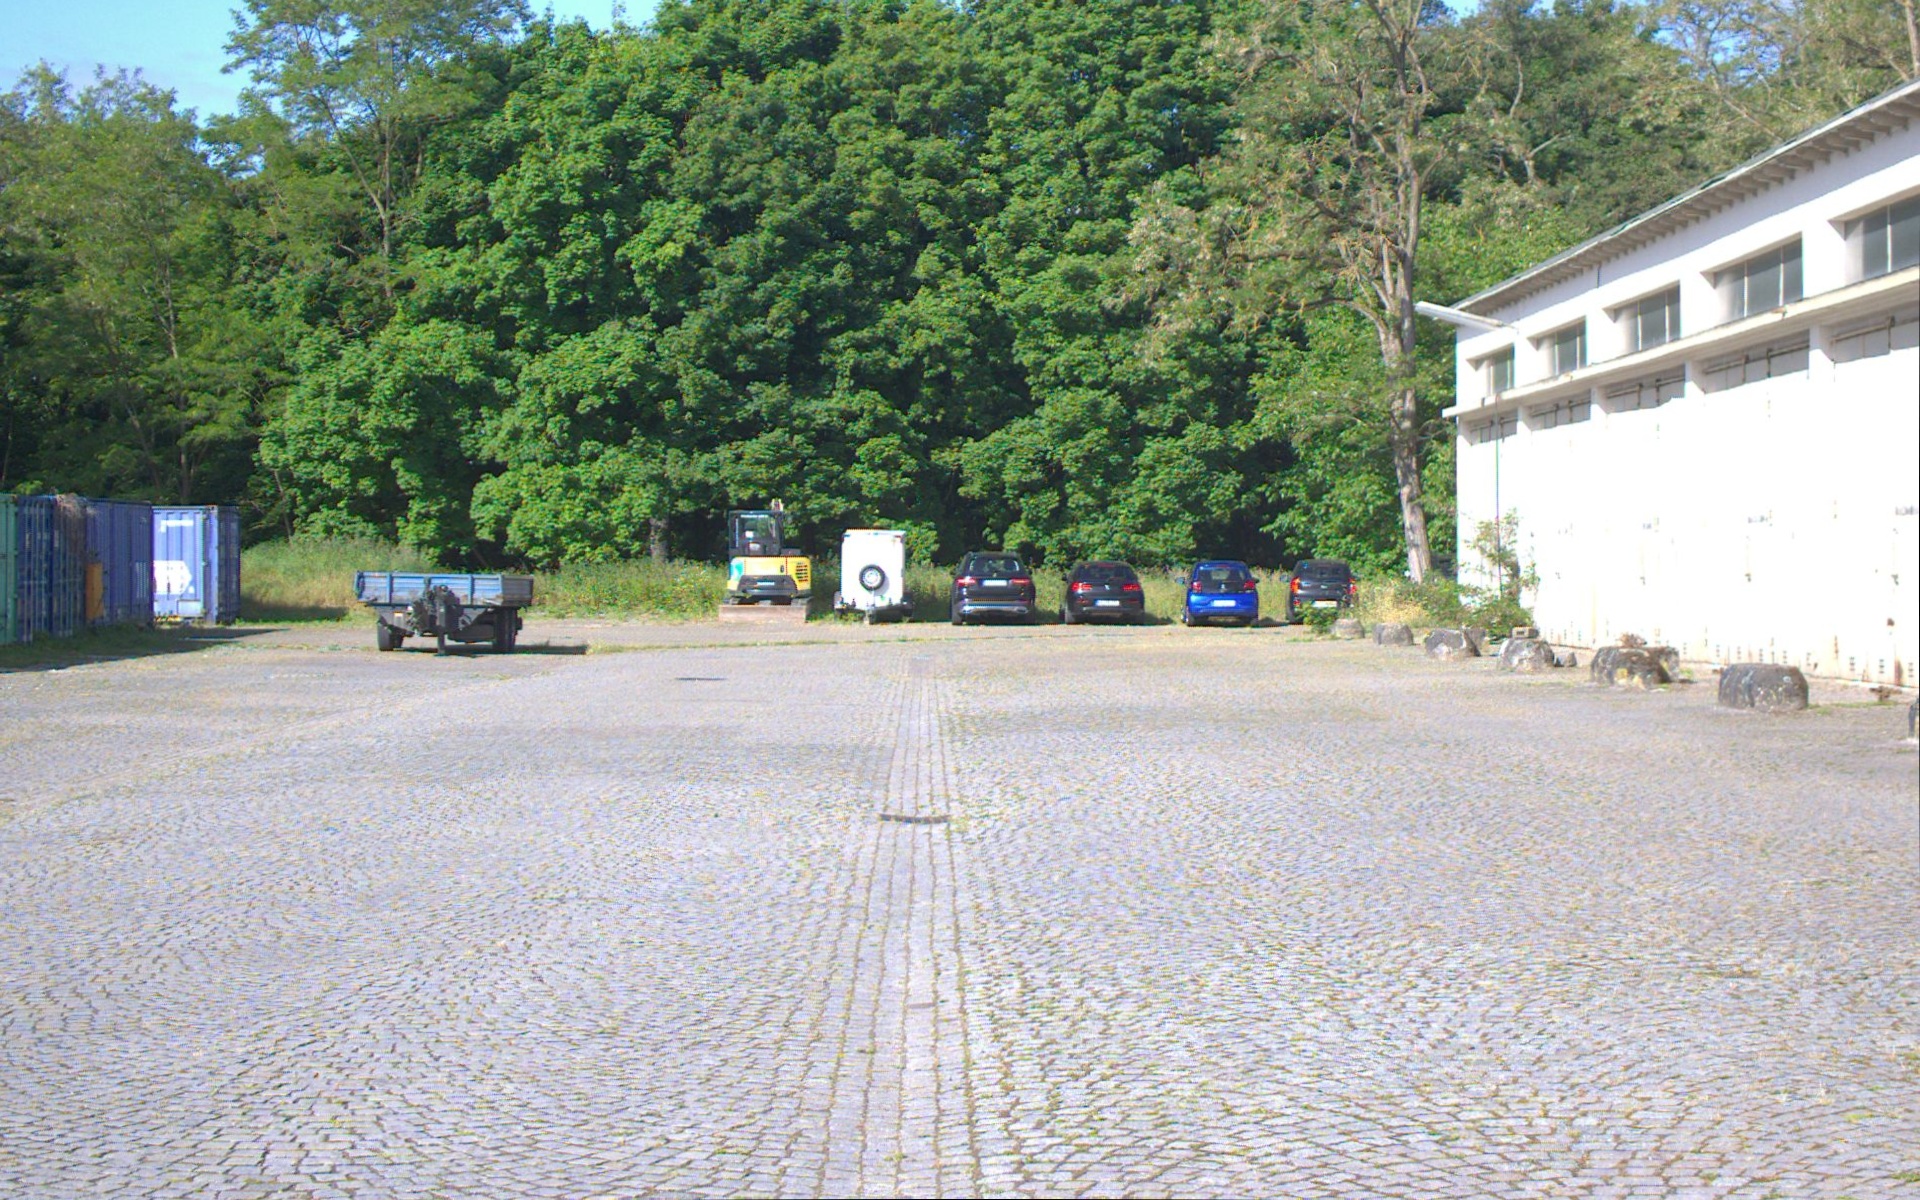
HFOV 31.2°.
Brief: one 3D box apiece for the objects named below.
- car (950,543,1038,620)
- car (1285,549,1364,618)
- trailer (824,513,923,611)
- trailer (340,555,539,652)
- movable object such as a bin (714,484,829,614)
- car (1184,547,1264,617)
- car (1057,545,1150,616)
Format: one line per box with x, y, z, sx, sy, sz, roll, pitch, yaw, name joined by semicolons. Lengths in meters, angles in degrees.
0.743;-0.446;77.758;1.863;1.584;4.296;1;2;-1;car
8.439;-0.408;79.491;1.744;1.431;4.182;1;2;6;car
-1.983;-0.924;80.123;2.193;2.087;5.752;1;2;-1;trailer
-9.003;0.022;60.026;2.705;1.460;6.248;1;2;-2;trailer
-4.371;-1.251;80.708;2.306;2.887;5.751;1;2;0;movable object such as a bin
6.001;-0.420;78.076;1.744;1.431;4.182;1;2;5;car
3.232;-0.467;78.130;1.863;1.465;4.296;1;2;-1;car
